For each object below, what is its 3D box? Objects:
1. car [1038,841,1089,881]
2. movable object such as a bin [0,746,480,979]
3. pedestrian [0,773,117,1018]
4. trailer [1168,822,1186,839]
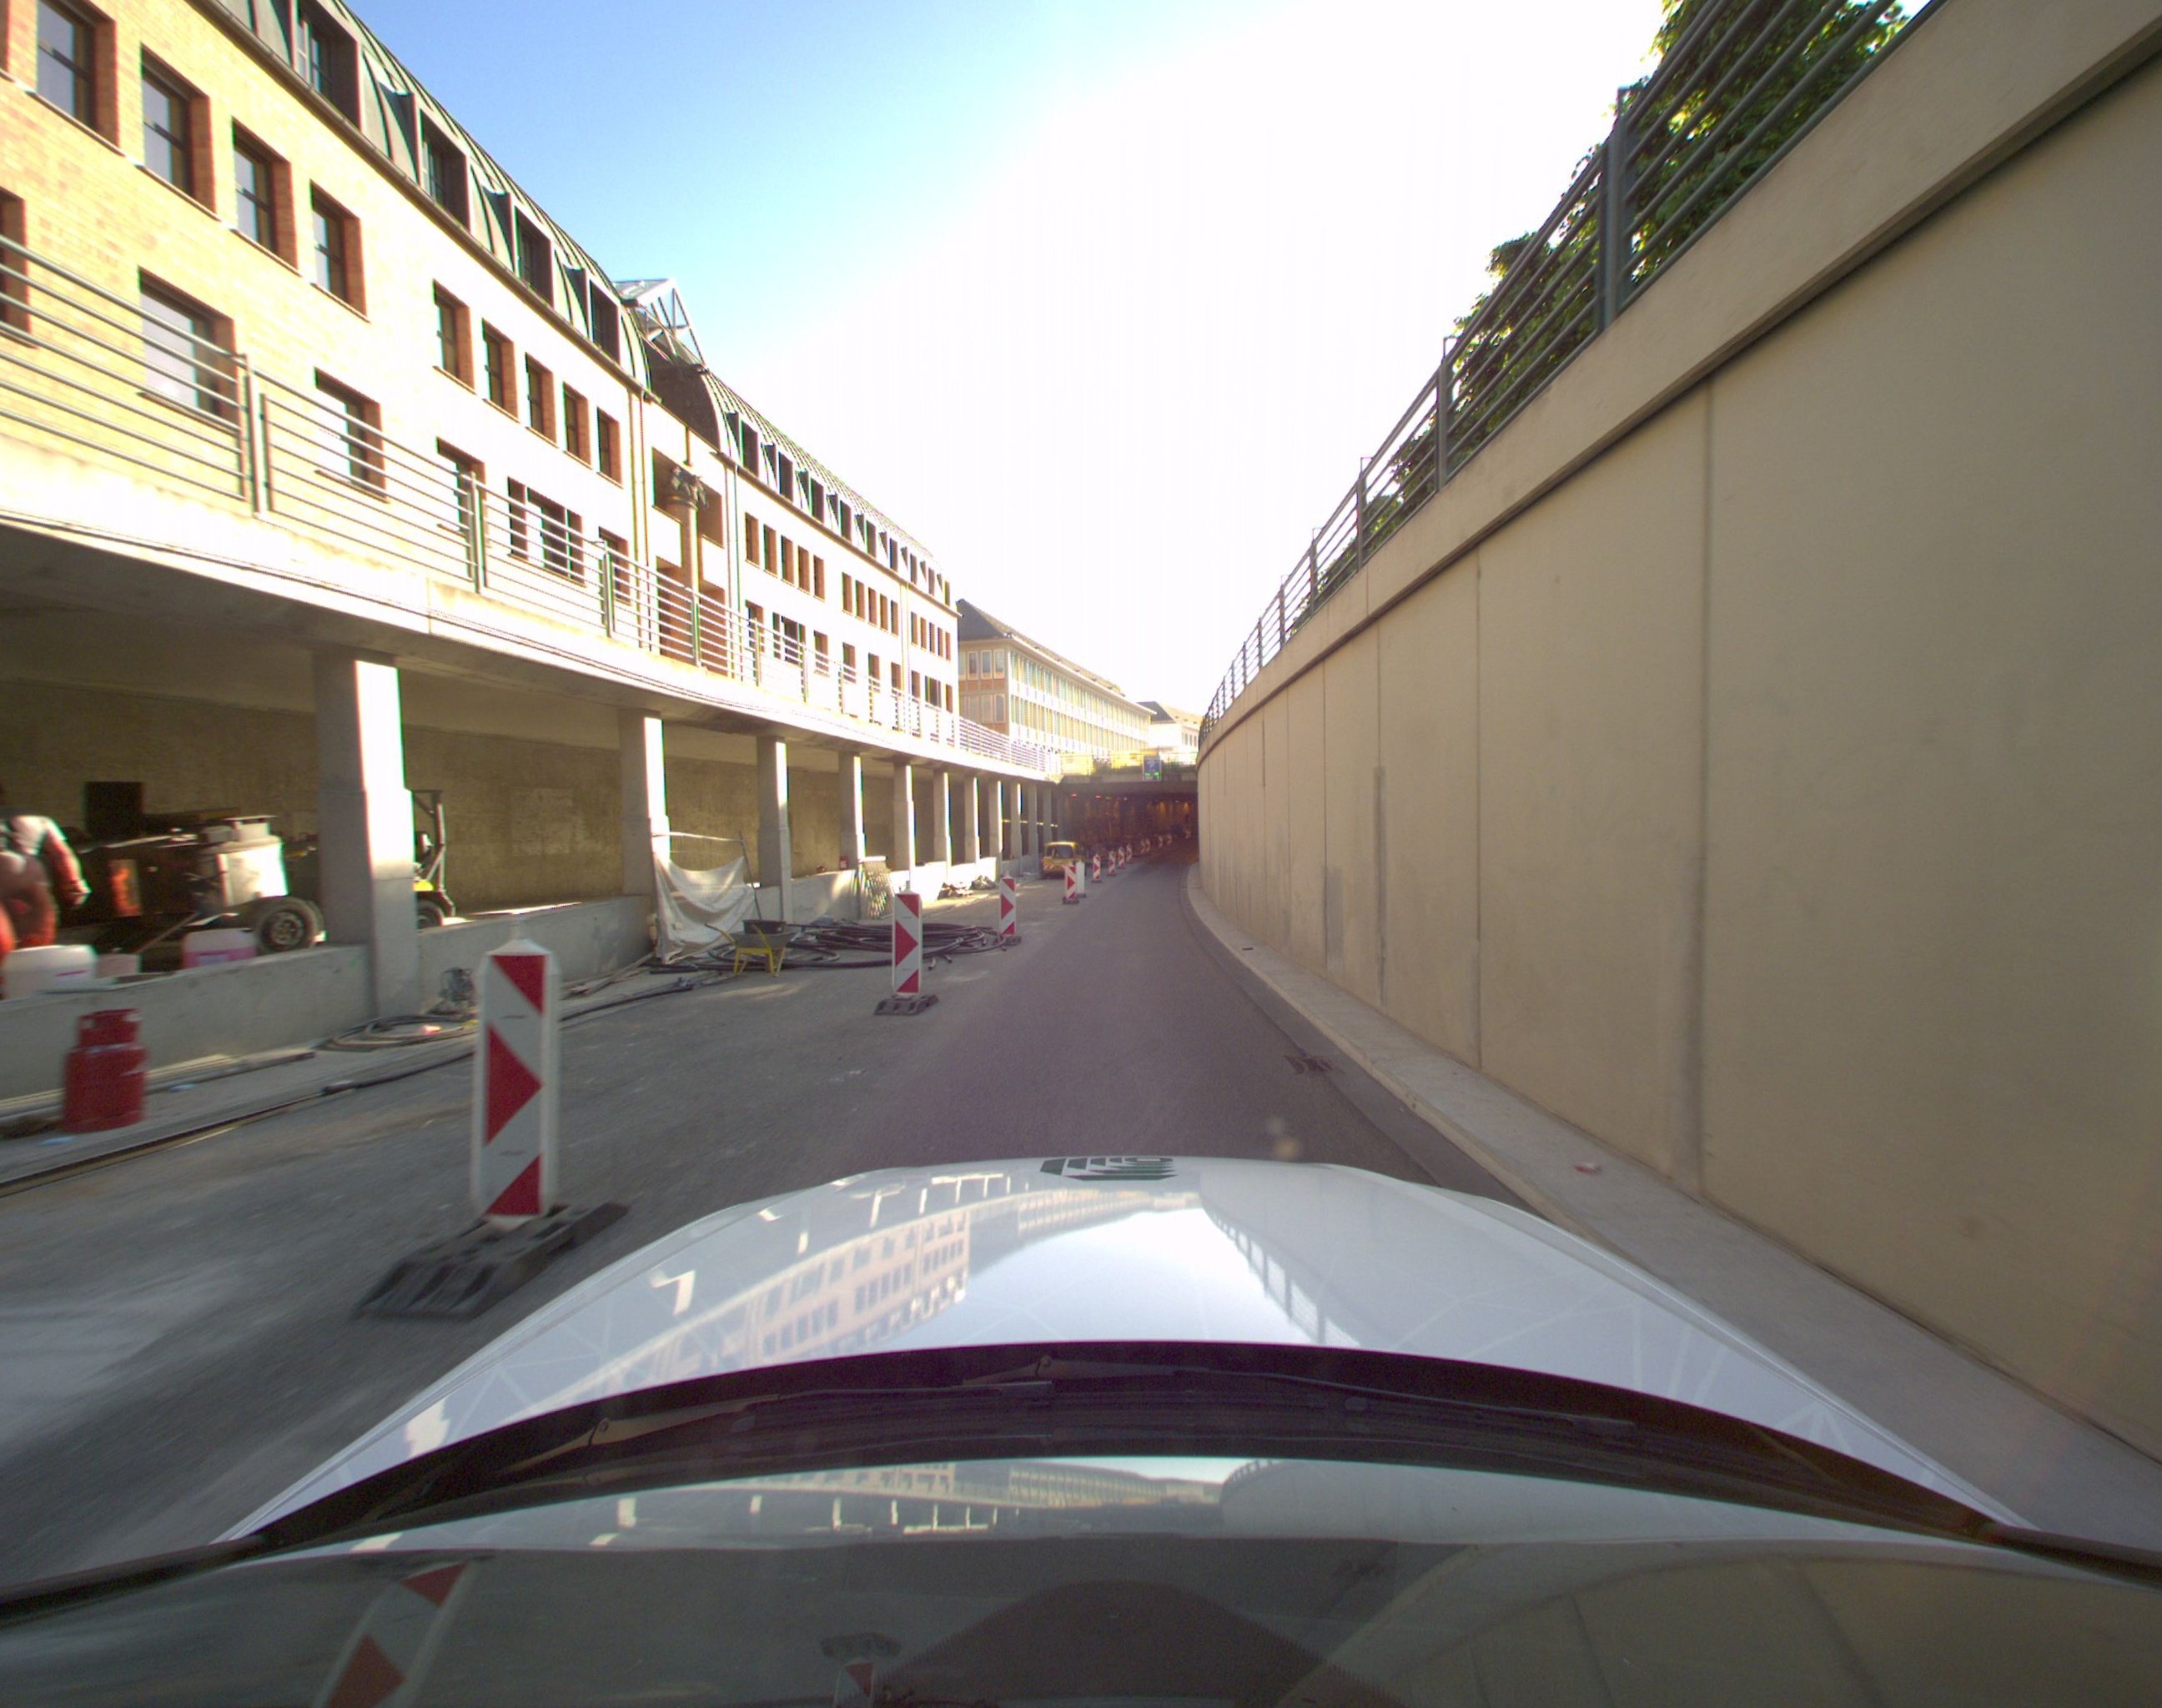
[{"bbox_3d":[-0.805,0.307,40.466,1.838,1.775,4.445,0,2,8],"label":"car"},{"bbox_3d":[-8.414,0.058,8.527,1.879,1.987,3.158,0,0,0],"label":"movable object such as a bin"},{"bbox_3d":[-8.214,0.301,6.356,0.653,1.805,0.626,0,0,10],"label":"pedestrian"},{"bbox_3d":[10.629,-2.613,90.091,1.569,1.797,2.952,1,3,15],"label":"trailer"}]
